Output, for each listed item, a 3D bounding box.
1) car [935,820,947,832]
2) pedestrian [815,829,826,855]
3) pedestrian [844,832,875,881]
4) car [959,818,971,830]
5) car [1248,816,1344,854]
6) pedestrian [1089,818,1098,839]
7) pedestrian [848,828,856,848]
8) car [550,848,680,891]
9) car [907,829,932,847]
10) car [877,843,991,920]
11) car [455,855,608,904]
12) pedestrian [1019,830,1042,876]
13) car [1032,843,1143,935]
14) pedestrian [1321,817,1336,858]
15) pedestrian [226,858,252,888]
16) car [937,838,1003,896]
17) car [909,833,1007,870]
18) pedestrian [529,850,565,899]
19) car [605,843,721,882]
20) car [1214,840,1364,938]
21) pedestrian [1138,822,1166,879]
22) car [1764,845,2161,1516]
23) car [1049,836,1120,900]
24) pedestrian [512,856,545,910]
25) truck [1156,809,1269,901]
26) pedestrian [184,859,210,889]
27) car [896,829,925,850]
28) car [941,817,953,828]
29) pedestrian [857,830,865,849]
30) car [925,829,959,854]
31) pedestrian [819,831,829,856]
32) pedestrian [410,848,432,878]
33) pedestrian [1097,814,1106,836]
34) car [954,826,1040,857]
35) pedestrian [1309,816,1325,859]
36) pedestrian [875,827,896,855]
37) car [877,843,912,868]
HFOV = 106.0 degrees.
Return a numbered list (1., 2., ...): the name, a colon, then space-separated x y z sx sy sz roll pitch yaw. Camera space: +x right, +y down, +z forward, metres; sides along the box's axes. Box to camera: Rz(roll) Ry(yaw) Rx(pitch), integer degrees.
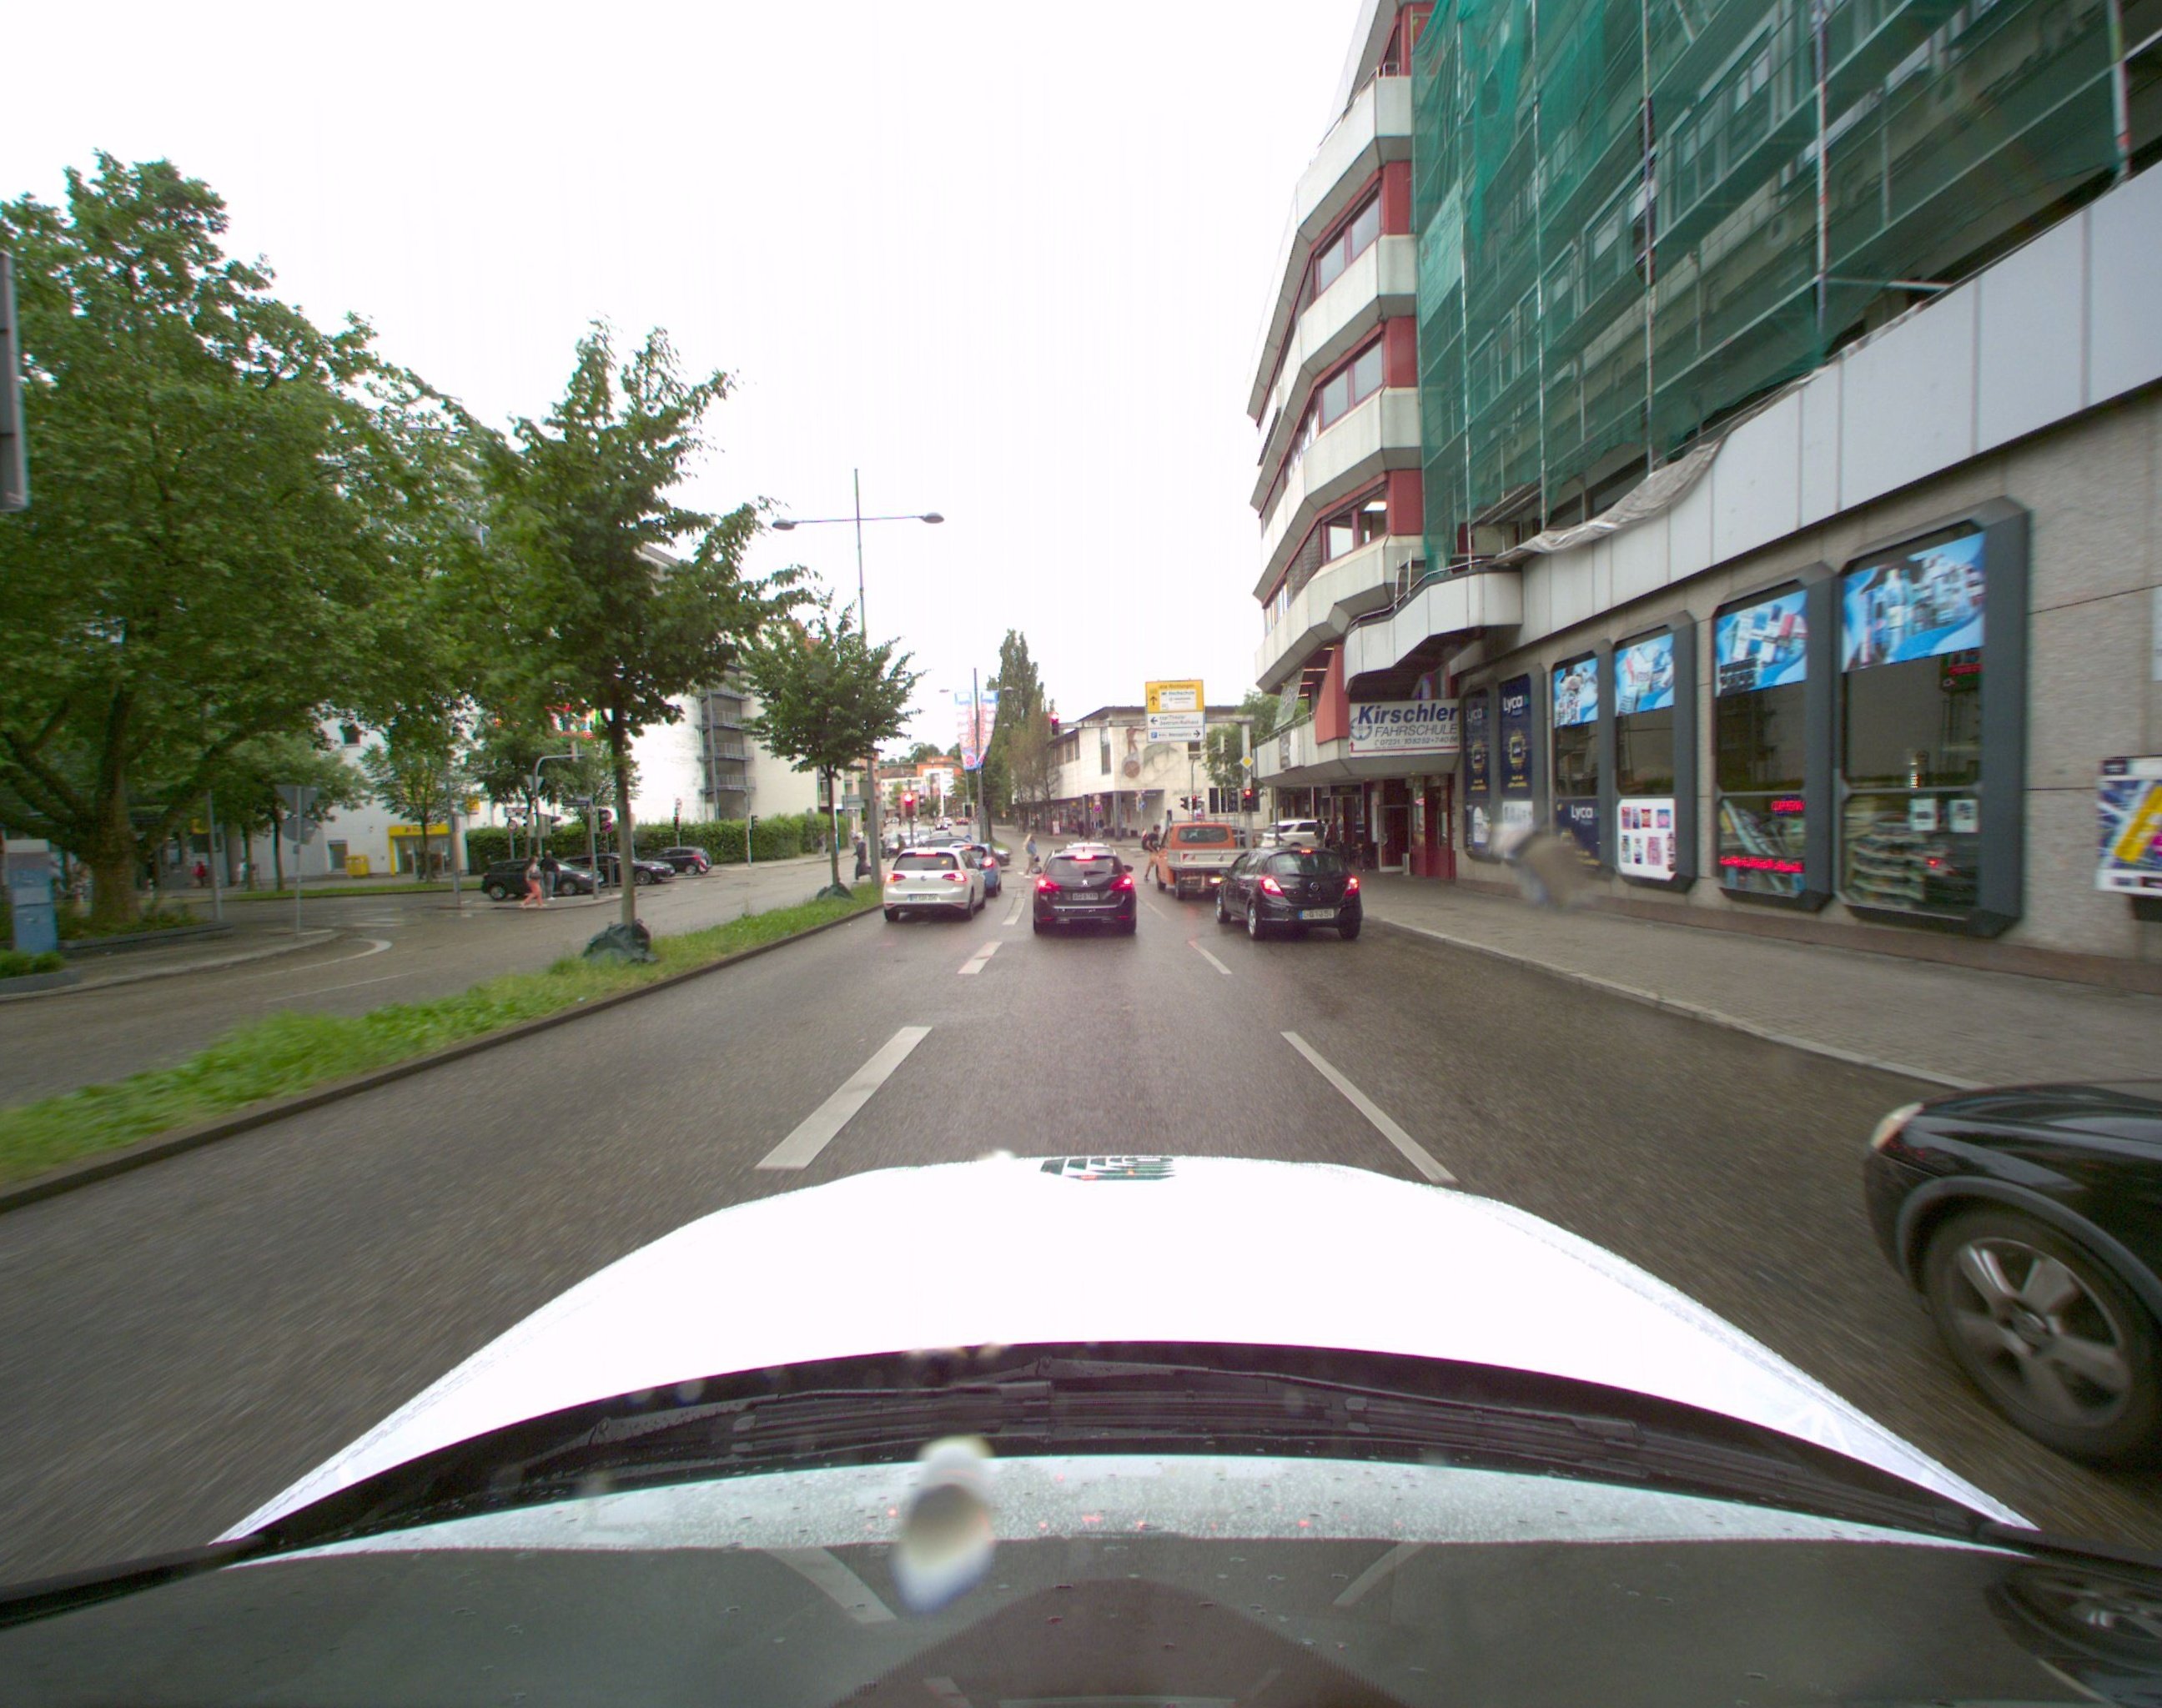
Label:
1. car: -21.758 -4.322 126.734 1.744 1.640 3.987 0 -1 -9
2. pedestrian: -18.038 -0.823 56.397 0.538 1.747 0.745 0 -1 -7
3. pedestrian: -8.167 0.087 30.031 0.919 1.783 0.710 0 -1 4
4. car: -21.963 -5.650 153.731 1.709 1.936 3.978 0 -1 -16
5. car: 10.118 -0.879 38.418 3.992 1.702 1.820 0 -1 -14
6. pedestrian: 1.085 -2.226 70.564 0.633 1.758 0.735 0 -1 7
7. pedestrian: -20.457 -1.427 72.795 0.595 1.728 0.655 0 -1 -7
8. car: -20.316 0.637 35.695 4.495 1.454 1.786 -4 3 -12
9. car: -13.339 -1.337 67.552 1.630 1.486 3.604 -1 2 -5
10. car: -3.040 0.508 17.579 1.772 1.429 3.841 0 1 0
11. car: -21.490 0.963 32.046 4.495 1.454 1.786 -4 3 -12
12. pedestrian: -1.837 -0.031 29.829 0.745 1.680 0.710 0 -1 3
13. car: 0.082 0.541 15.049 1.772 1.429 3.841 0 1 -1
14. pedestrian: 9.909 -0.653 32.642 0.395 1.639 0.504 -3 -1 2
15. pedestrian: -46.184 1.051 44.663 0.727 1.643 0.640 0 -1 6
16. car: -3.127 0.300 23.529 1.629 1.486 3.605 -1 2 -4
17. car: -5.188 -0.101 34.424 3.988 1.486 1.618 0 -1 -11
18. pedestrian: -18.857 0.727 28.785 0.750 1.661 0.628 -2 3 1
19. car: -19.906 0.381 38.990 4.495 1.454 1.786 -4 3 -12
20. car: 3.453 0.496 14.173 1.611 1.429 3.841 0 1 0
21. pedestrian: 2.336 -0.112 26.878 0.919 1.878 0.710 0 -1 3
22. car: 3.099 0.728 0.996 1.600 1.429 3.625 0 1 2
23. car: 0.110 0.289 21.249 1.690 1.486 3.795 0 2 1
24. pedestrian: -17.757 0.918 26.168 0.555 1.661 0.579 -2 3 1
25. truck: 3.356 -0.056 21.848 2.171 2.172 5.019 0 2 -1
26. pedestrian: -48.866 1.074 45.029 0.633 1.643 0.735 0 -1 7
27. car: -12.612 -1.130 60.351 1.630 1.486 3.604 -1 2 -5
28. car: -25.004 -5.792 152.257 1.709 1.882 3.978 0 -1 -16
29. pedestrian: -19.810 -1.323 73.272 0.595 1.728 0.655 0 -1 -7
30. car: -9.192 -0.780 54.108 1.740 1.579 3.997 0 -1 -2
31. pedestrian: -18.239 -0.740 57.824 0.538 1.747 0.564 0 -1 -4
32. pedestrian: -37.194 0.498 45.880 0.730 1.643 0.638 0 -1 -7
33. pedestrian: 1.789 -2.526 70.820 0.633 1.897 0.735 0 -1 7
34. car: -4.322 -0.610 42.700 1.708 1.490 4.763 -1 -1 36
35. pedestrian: 9.354 -0.645 32.287 0.424 1.682 0.450 -3 -1 0
36. pedestrian: -11.277 -0.742 46.920 1.059 1.578 0.683 0 -1 -4
37. car: -12.147 0.097 53.179 1.570 1.486 3.607 0 2 -2
